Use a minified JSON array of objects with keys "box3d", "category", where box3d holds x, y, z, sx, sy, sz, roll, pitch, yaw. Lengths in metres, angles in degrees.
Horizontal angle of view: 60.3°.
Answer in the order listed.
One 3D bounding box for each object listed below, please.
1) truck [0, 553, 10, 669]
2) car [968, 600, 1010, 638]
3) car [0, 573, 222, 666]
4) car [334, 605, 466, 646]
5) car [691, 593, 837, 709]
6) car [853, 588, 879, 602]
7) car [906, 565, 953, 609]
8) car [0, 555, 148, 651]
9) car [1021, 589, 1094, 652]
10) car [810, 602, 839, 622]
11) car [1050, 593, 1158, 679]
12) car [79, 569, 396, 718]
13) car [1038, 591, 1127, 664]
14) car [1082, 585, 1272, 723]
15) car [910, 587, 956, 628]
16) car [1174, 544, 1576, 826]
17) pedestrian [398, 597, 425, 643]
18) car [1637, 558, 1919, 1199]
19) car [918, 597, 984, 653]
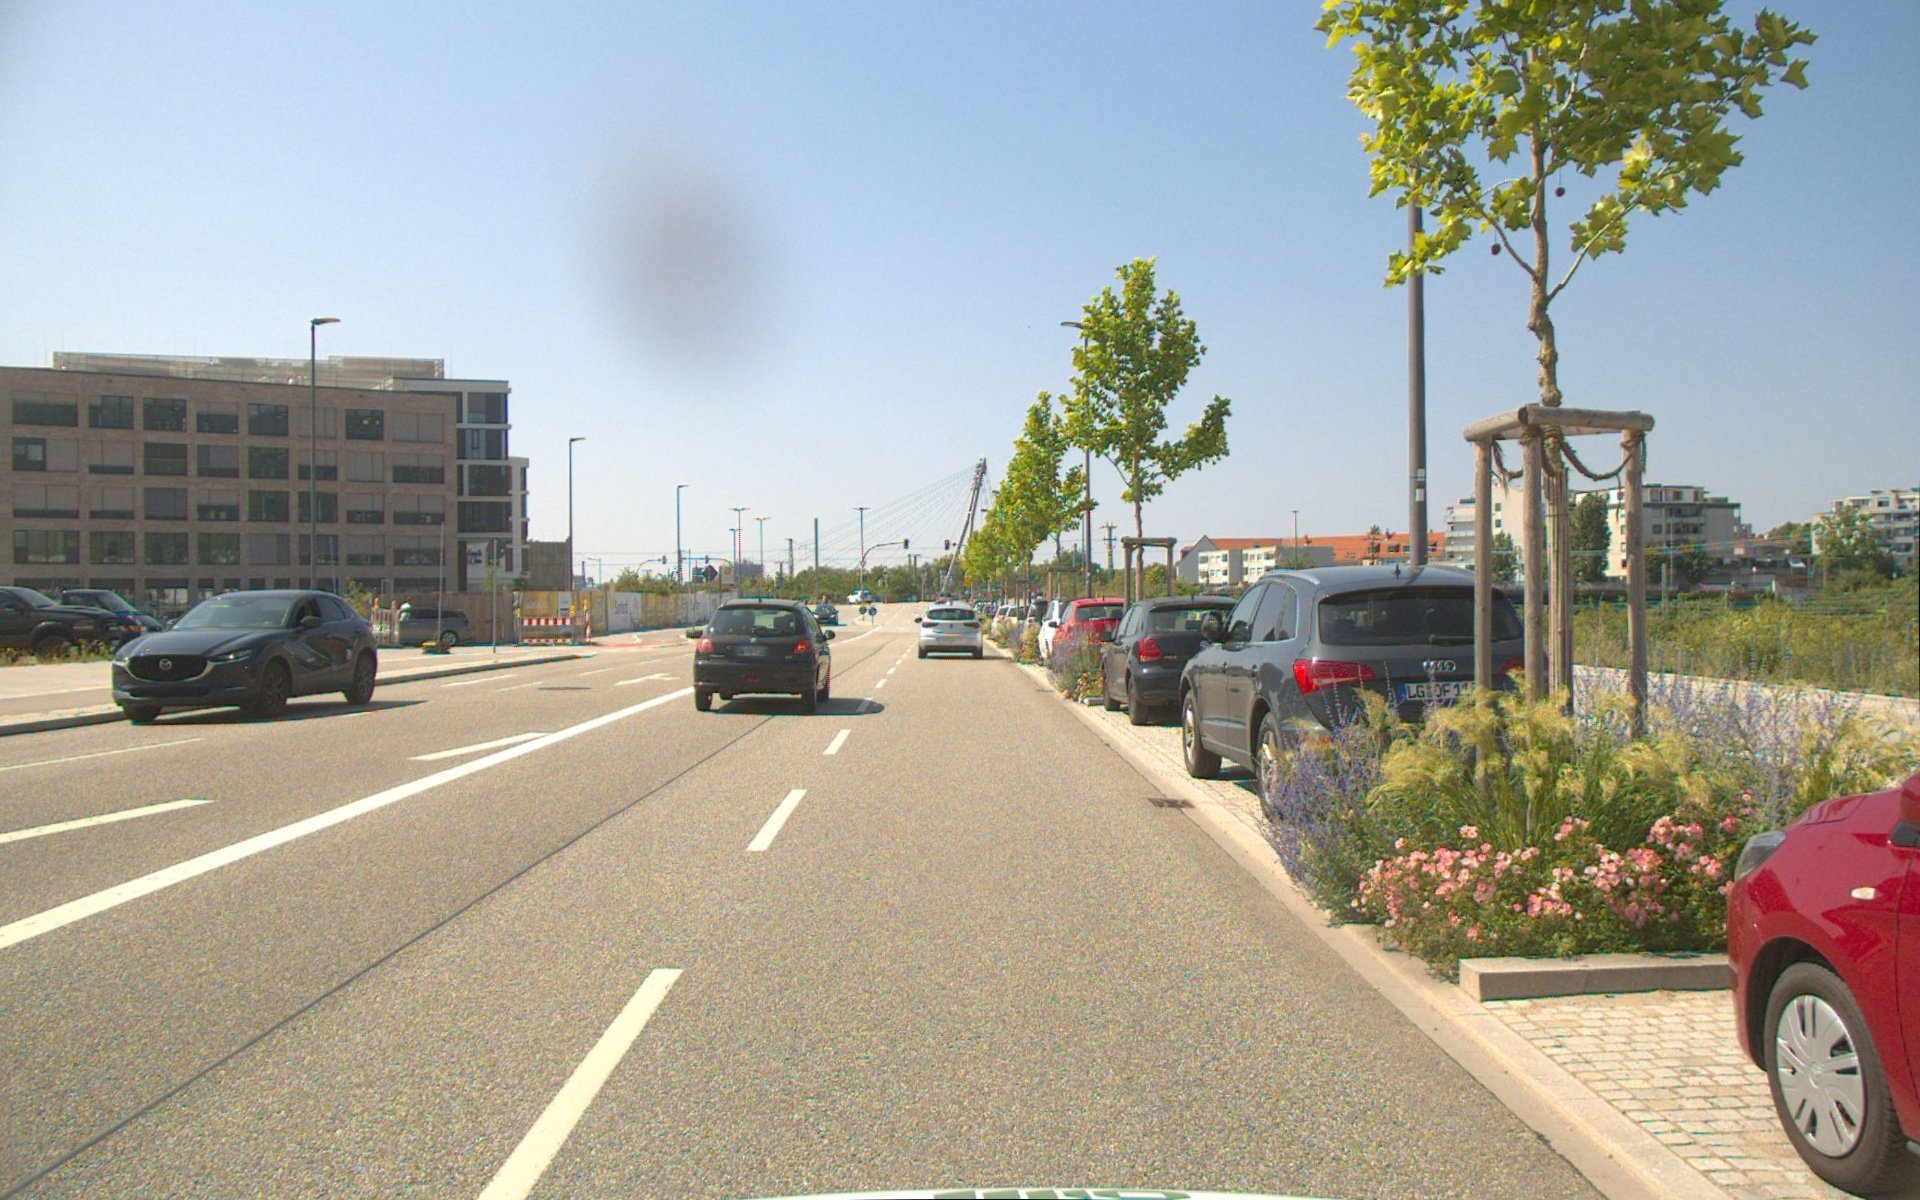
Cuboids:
[{"box3d":[-22.737,0.286,33.604,5.455,2.404,2.274,-1,0,-2],"category":"truck"},{"box3d":[1.213,0.768,69.408,1.710,1.535,4.002,0,0,1],"category":"car"},{"box3d":[-22.107,0.483,42.335,5.336,2.211,2.393,-1,0,-4],"category":"car"},{"box3d":[-20.416,0.913,60.370,4.200,1.341,1.975,-1,0,-36],"category":"car"},{"box3d":[-2.614,0.637,22.749,1.586,1.441,3.727,0,0,-1],"category":"car"},{"box3d":[-11.648,-0.685,204.735,1.832,1.678,3.966,1,0,-26],"category":"car"},{"box3d":[-1.273,-0.517,70.680,1.756,1.780,4.001,1,-1,2],"category":"car"},{"box3d":[-23.147,0.086,39.989,5.766,2.203,2.394,-1,1,-4],"category":"car"},{"box3d":[2.621,0.530,45.114,1.869,1.605,4.159,-1,0,2],"category":"car"},{"box3d":[-9.478,0.849,116.159,1.669,1.376,4.455,-1,0,-1],"category":"car"},{"box3d":[2.731,0.649,32.137,1.682,1.476,4.000,1,1,-1],"category":"car"},{"box3d":[-8.970,0.488,21.010,1.862,1.656,4.389,-1,0,4],"category":"car"},{"box3d":[2.696,0.581,37.081,1.682,1.551,3.642,0,0,-1],"category":"car"},{"box3d":[2.547,0.578,20.335,1.600,1.454,4.239,-2,0,-2],"category":"car"},{"box3d":[-1.099,0.338,68.683,1.741,1.596,4.000,1,-1,1],"category":"car"},{"box3d":[2.781,0.500,12.085,1.699,1.636,4.239,-2,0,-2],"category":"car"},{"box3d":[-20.669,0.773,62.360,0.670,1.713,0.756,1,-1,6],"category":"pedestrian"},{"box3d":[2.986,0.639,3.155,1.572,1.517,3.815,-2,0,-4],"category":"car"},{"box3d":[-0.204,0.661,45.599,1.741,1.467,4.000,0,0,1],"category":"car"}]
